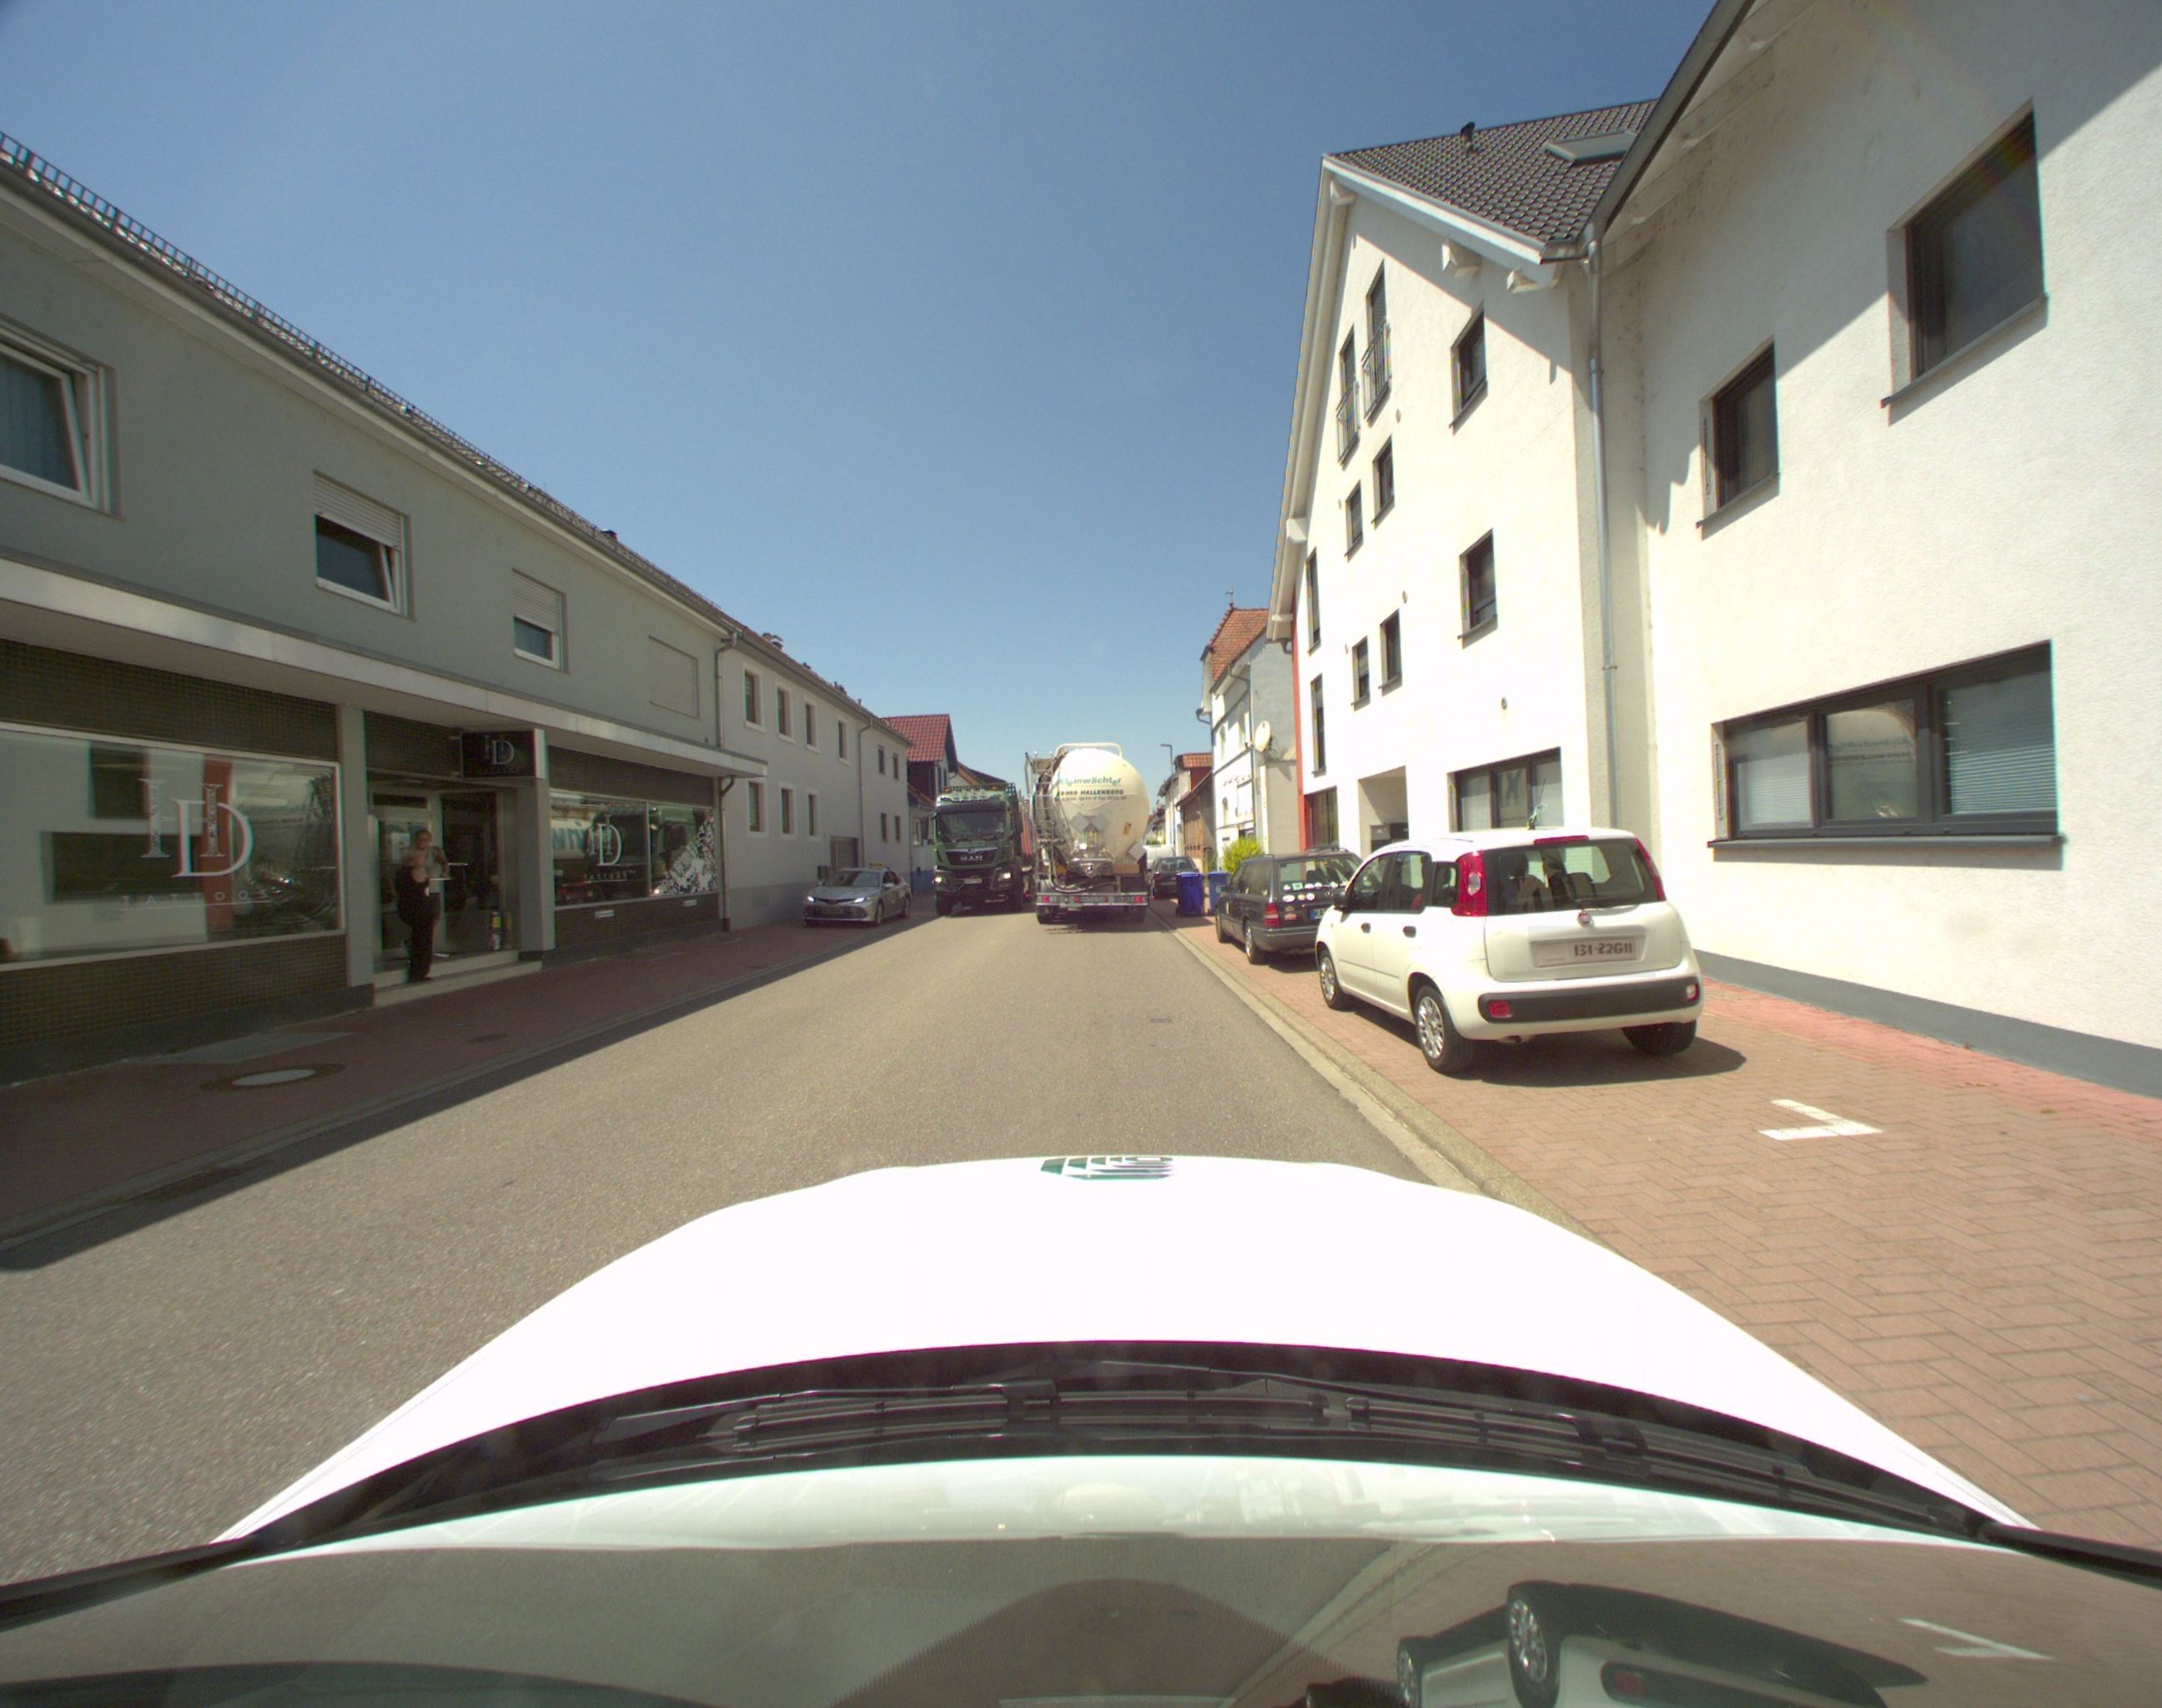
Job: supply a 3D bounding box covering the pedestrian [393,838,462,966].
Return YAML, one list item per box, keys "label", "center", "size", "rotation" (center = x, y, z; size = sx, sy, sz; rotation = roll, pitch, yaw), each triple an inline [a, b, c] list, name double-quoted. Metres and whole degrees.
- label: "pedestrian"
  center: [-9.096, 0.652, 11.342]
  size: [0.657, 1.713, 0.635]
  rotation: [-2, -2, 41]

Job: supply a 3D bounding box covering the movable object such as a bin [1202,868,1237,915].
- label: "movable object such as a bin"
  center: [3.340, 0.895, 19.588]
  size: [0.649, 1.060, 0.839]
  rotation: [-4, 0, 17]

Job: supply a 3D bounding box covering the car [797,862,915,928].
- label: "car"
  center: [-5.839, 1.001, 21.720]
  size: [1.802, 1.557, 4.565]
  rotation: [0, 0, 1]

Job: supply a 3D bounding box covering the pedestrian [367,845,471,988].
- label: "pedestrian"
  center: [-8.201, 0.748, 10.118]
  size: [0.622, 1.685, 0.771]
  rotation: [-1, 0, 0]

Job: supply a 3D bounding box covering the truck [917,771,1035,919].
- label: "truck"
  center: [-3.120, -0.240, 26.166]
  size: [2.610, 3.985, 6.852]
  rotation: [-4, 0, 0]

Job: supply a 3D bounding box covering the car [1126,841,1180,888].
- label: "car"
  center: [3.282, 0.463, 37.830]
  size: [1.940, 1.970, 4.783]
  rotation: [-3, 0, -1]

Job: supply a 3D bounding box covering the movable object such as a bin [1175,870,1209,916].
- label: "movable object such as a bin"
  center: [2.710, 0.940, 19.777]
  size: [0.650, 1.035, 0.687]
  rotation: [-4, 0, 16]

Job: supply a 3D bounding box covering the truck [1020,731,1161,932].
- label: "truck"
  center: [0.254, -0.415, 20.318]
  size: [2.723, 3.960, 8.142]
  rotation: [-1, -1, 1]

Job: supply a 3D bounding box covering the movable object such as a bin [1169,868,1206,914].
- label: "movable object such as a bin"
  center: [2.696, 0.928, 20.531]
  size: [0.716, 1.073, 0.976]
  rotation: [-4, 0, 17]

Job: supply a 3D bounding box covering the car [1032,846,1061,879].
- label: "car"
  center: [-2.869, 0.667, 68.346]
  size: [2.119, 2.542, 5.459]
  rotation: [-3, 0, -1]

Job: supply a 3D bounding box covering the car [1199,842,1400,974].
- label: "car"
  center: [2.973, 0.652, 12.199]
  size: [1.694, 1.446, 4.837]
  rotation: [-5, 0, 1]

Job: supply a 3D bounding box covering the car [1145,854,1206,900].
- label: "car"
  center: [3.392, 0.770, 29.934]
  size: [1.763, 1.466, 4.579]
  rotation: [-3, 0, 2]

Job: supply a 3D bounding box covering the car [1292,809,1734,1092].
- label: "car"
  center: [2.983, 0.565, 6.529]
  size: [1.601, 1.522, 3.545]
  rotation: [-5, 0, 1]

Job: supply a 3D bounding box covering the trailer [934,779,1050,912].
- label: "trailer"
  center: [-3.075, -0.225, 33.249]
  size: [2.622, 3.979, 15.697]
  rotation: [-4, 0, 0]
